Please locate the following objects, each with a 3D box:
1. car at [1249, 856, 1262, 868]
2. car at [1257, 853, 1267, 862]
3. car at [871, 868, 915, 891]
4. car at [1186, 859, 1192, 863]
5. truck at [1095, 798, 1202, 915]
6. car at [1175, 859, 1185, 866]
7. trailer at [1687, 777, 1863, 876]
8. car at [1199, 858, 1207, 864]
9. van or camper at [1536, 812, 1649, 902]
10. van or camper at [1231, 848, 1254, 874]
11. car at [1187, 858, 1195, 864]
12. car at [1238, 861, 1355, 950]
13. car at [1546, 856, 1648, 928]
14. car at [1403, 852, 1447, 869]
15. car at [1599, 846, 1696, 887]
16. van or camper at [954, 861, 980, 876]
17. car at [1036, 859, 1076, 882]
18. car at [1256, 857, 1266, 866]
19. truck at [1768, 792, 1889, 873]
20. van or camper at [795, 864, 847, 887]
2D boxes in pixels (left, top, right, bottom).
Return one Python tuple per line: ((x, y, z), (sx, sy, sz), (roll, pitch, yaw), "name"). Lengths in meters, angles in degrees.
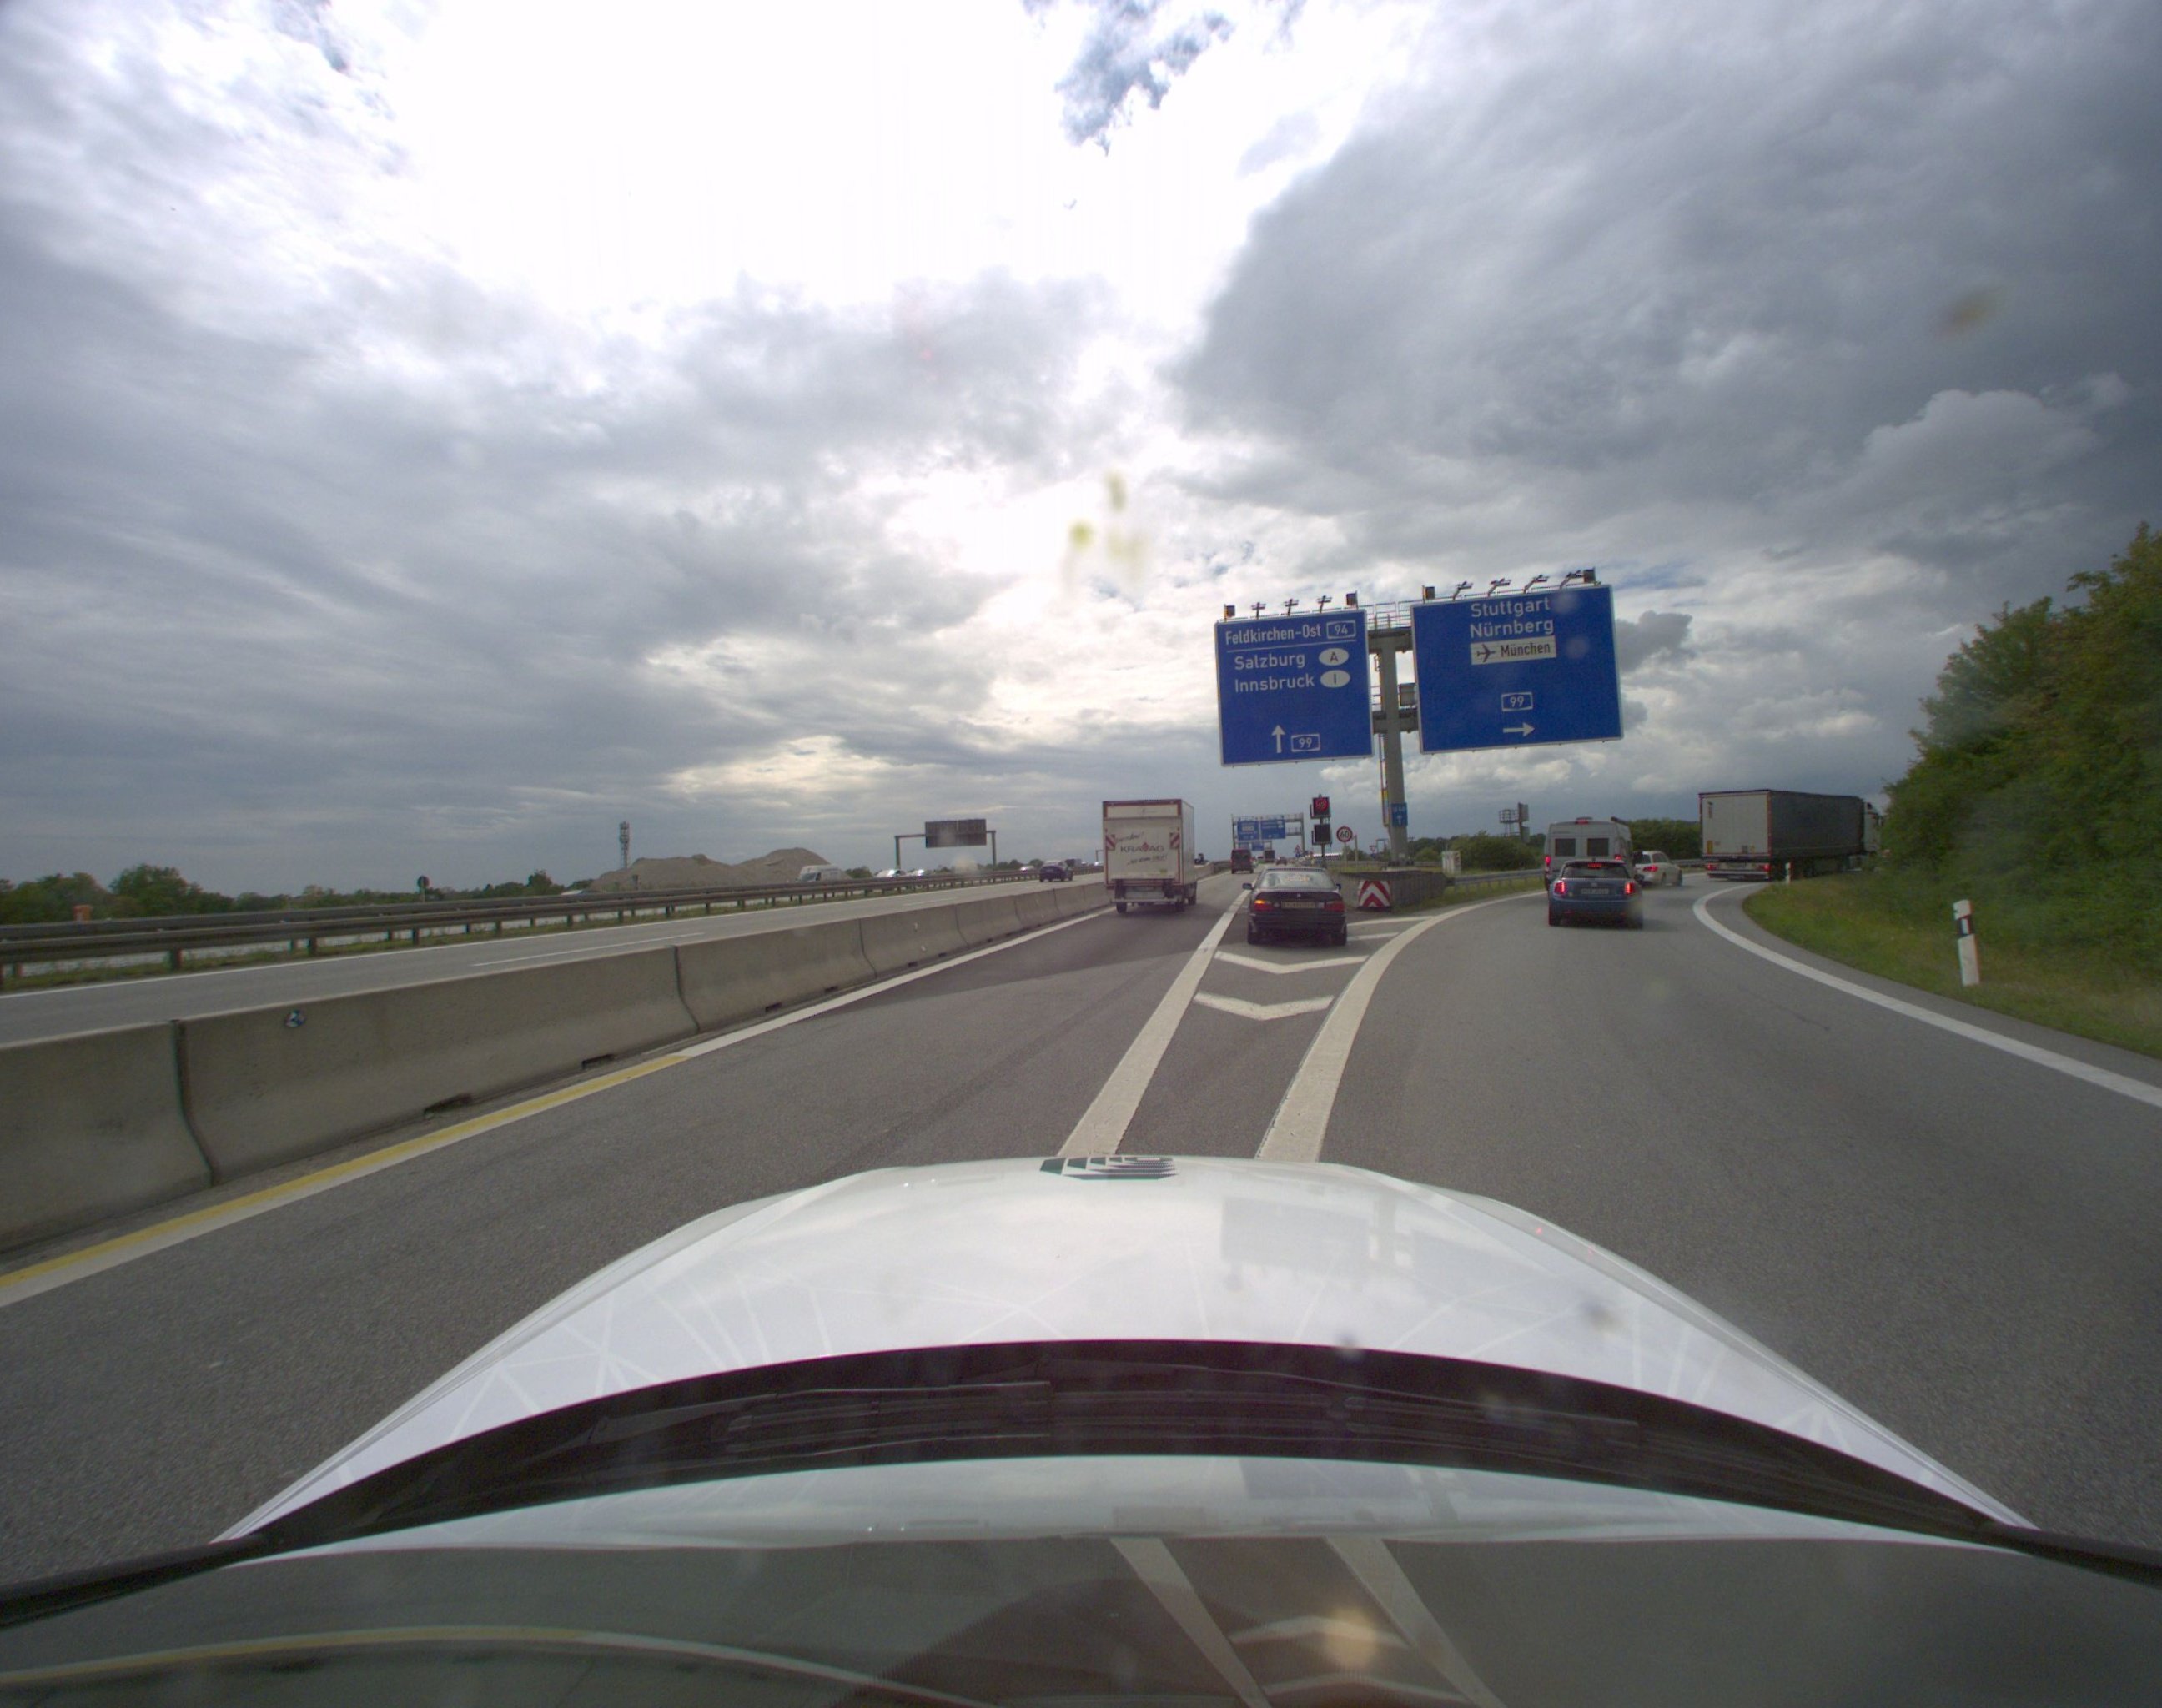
((24.342, 1.129, 113.584), (1.690, 1.508, 3.852), (-2, -1, 11), "car")
((41.538, 0.799, 187.052), (1.981, 2.014, 4.012), (-2, -1, 11), "car")
((-12.658, 1.675, 55.092), (1.886, 1.423, 4.001), (-2, -1, 2), "car")
((34.440, 2.219, 259.670), (1.542, 1.376, 4.012), (-1, 0, 11), "car")
((2.264, 0.092, 25.048), (2.388, 3.090, 6.391), (-1, -1, 12), "truck")
((23.864, 2.076, 196.403), (1.888, 1.640, 4.659), (-1, -1, 12), "car")
((34.091, -1.211, 39.701), (13.086, 4.193, 3.305), (-1, -1, -35), "trailer")
((32.504, 1.757, 216.853), (1.762, 1.530, 4.013), (-2, -1, 12), "car")
((16.627, 0.082, 26.296), (2.271, 2.568, 6.199), (-2, -1, 39), "van or camper")
((15.514, 0.679, 78.091), (1.986, 2.371, 6.147), (-2, -1, 12), "van or camper")
((30.580, 1.876, 226.783), (1.888, 1.639, 4.247), (-1, 0, 12), "car")
((3.921, 0.858, 15.144), (1.770, 1.378, 4.151), (-2, -1, 13), "car")
((11.408, 0.777, 18.035), (1.712, 1.419, 3.689), (-1, -1, 33), "car")
((39.447, 0.771, 93.500), (2.006, 1.772, 4.206), (-1, -1, -30), "car")
((22.854, 0.485, 32.787), (4.814, 1.501, 2.186), (-1, -1, -43), "car")
((-17.538, 2.184, 125.488), (2.173, 2.172, 5.825), (-2, -1, 10), "van or camper")
((-1.841, 1.259, 62.575), (1.980, 1.662, 4.399), (-2, -1, 13), "car")
((30.626, 1.210, 138.422), (1.574, 1.484, 3.547), (-2, -1, 13), "car")
((40.809, -1.091, 44.416), (6.816, 4.095, 3.335), (-1, -1, -34), "truck")
((-25.502, 2.065, 80.128), (2.222, 2.014, 6.293), (-2, -1, 9), "van or camper")
